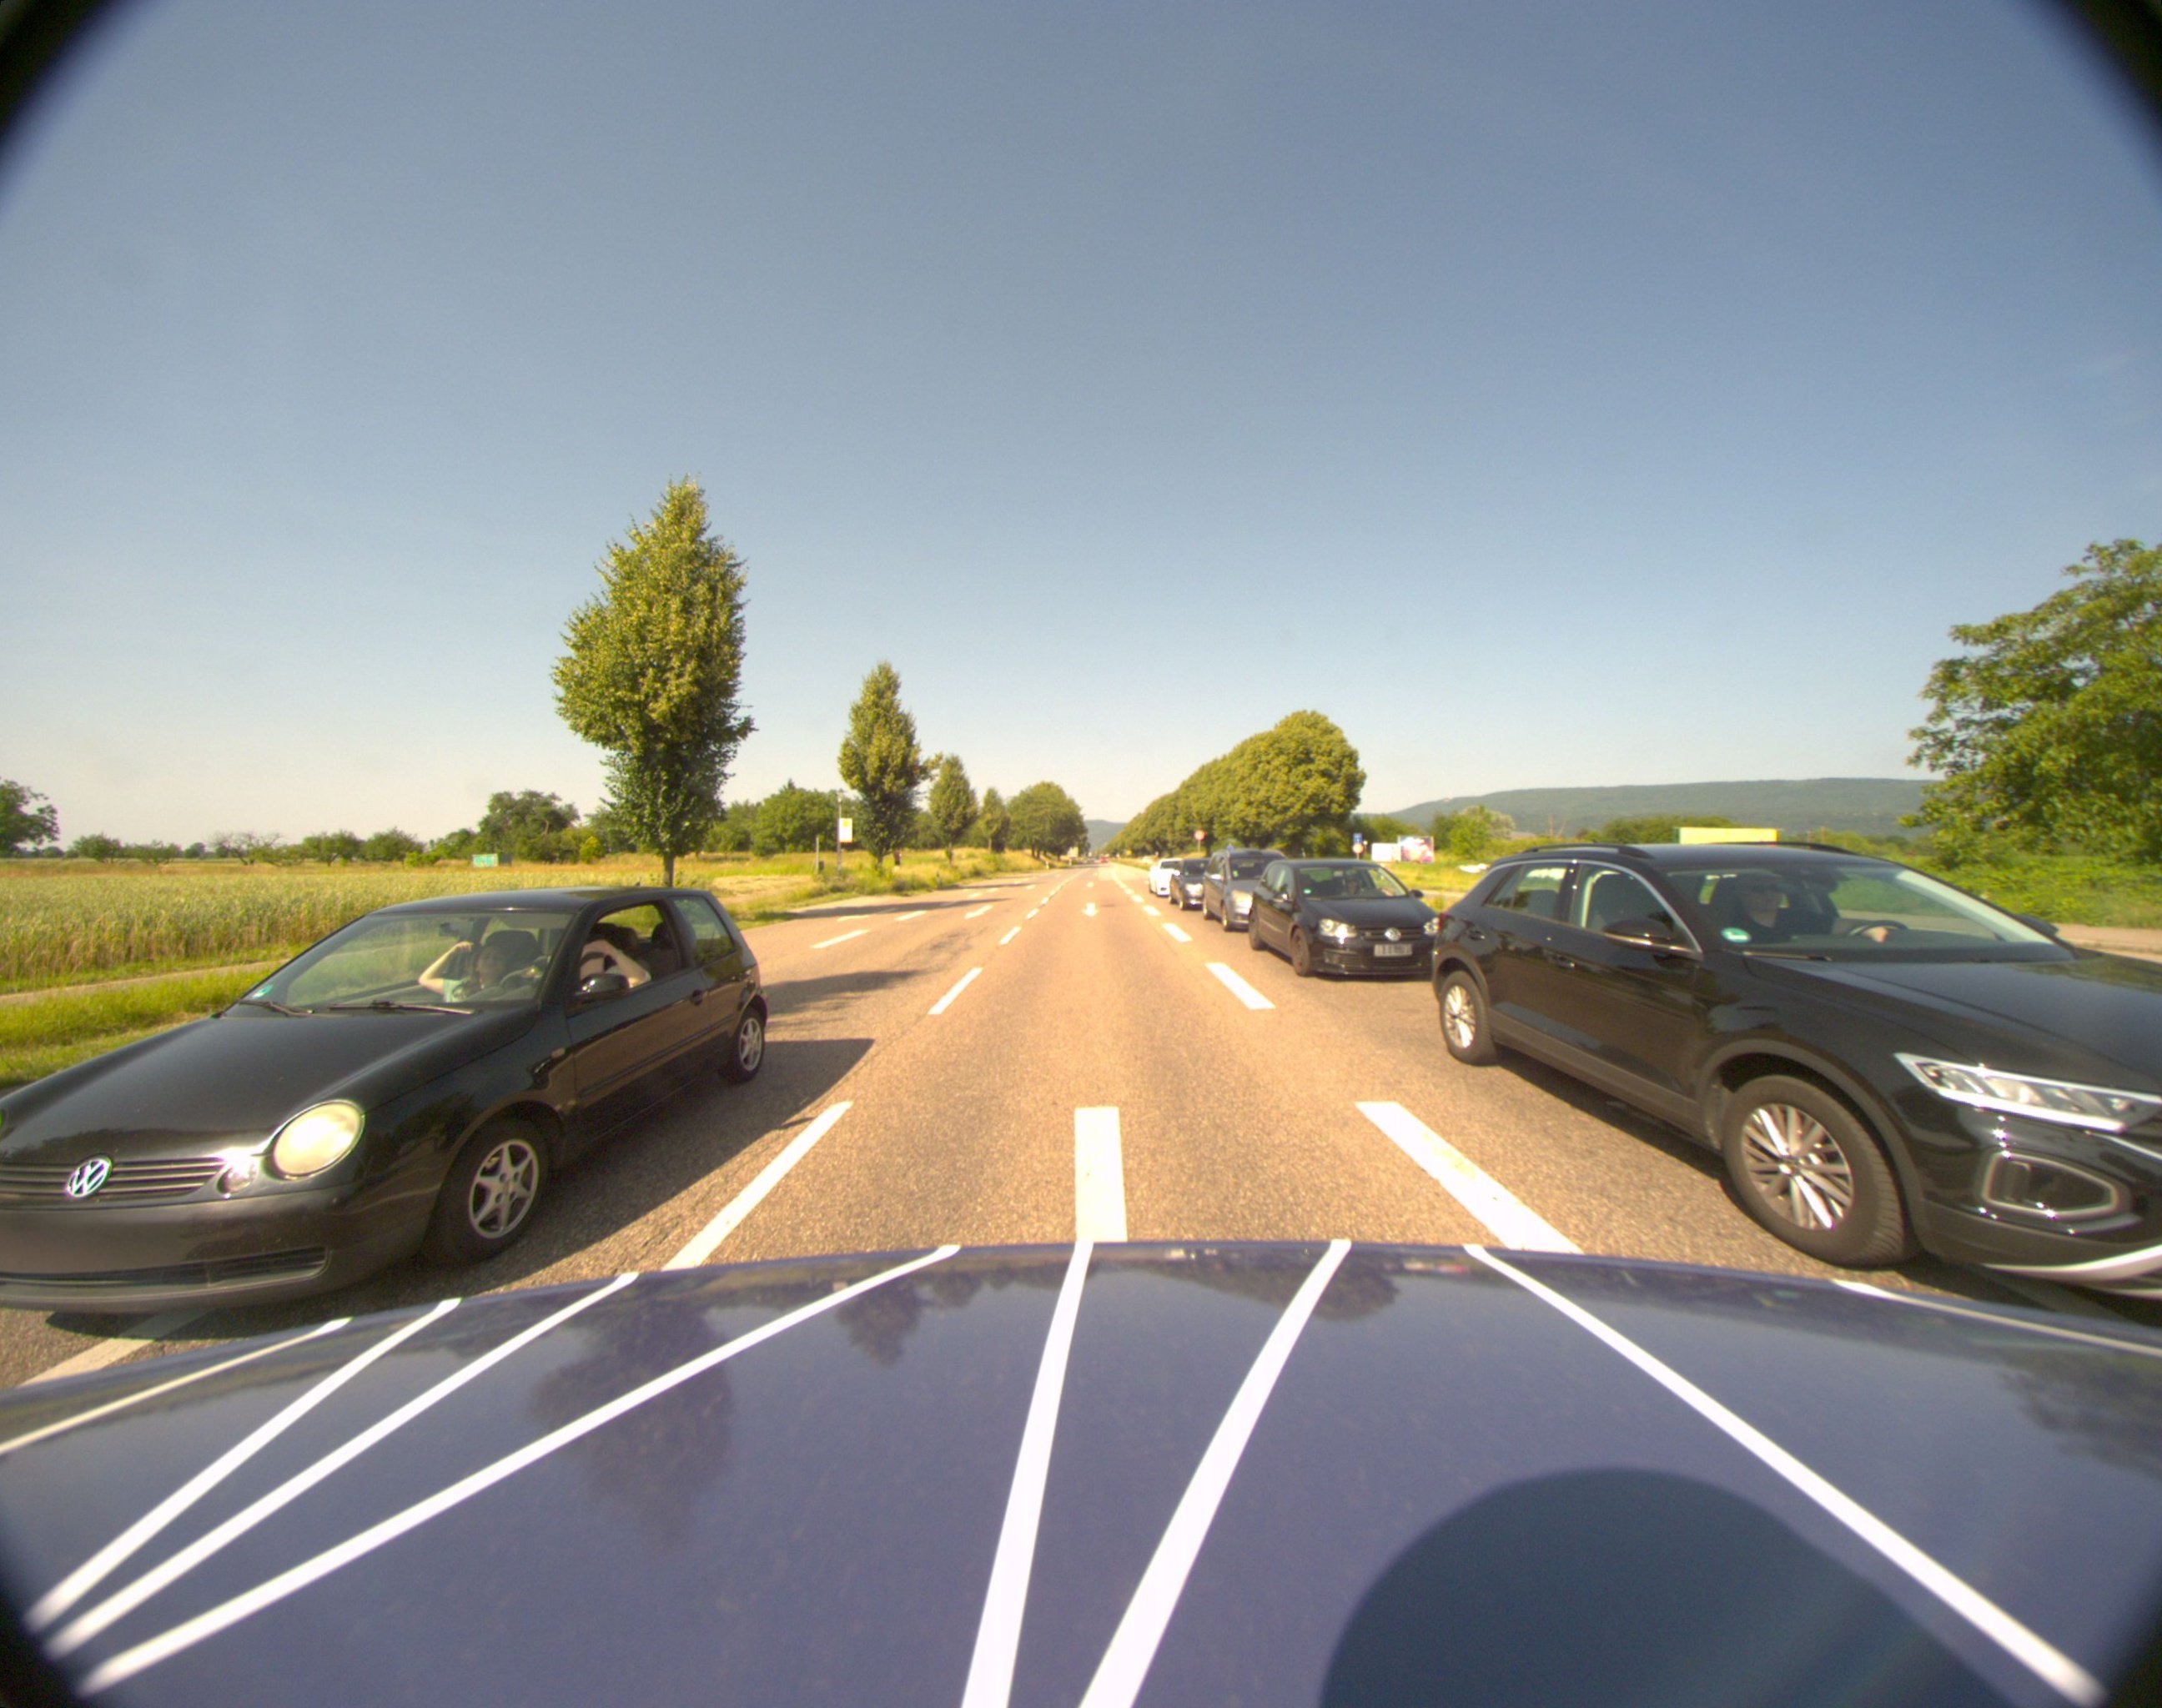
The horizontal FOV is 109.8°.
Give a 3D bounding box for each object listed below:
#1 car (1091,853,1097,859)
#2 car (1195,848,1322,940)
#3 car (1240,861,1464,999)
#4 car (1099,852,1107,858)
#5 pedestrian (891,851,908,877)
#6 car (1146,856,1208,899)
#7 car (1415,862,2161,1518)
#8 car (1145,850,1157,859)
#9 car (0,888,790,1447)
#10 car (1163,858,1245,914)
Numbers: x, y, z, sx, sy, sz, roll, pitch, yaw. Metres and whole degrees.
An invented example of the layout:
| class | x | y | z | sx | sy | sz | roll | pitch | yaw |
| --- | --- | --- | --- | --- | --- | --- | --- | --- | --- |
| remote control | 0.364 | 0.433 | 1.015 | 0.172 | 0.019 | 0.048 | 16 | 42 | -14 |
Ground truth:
| class | x | y | z | sx | sy | sz | roll | pitch | yaw |
| --- | --- | --- | --- | --- | --- | --- | --- | --- | --- |
| car | 3.737 | 0.544 | 216.116 | 1.680 | 1.499 | 3.725 | 0 | 0 | 1 |
| car | 3.617 | 0.743 | 16.253 | 1.745 | 1.662 | 4.357 | -1 | 0 | 1 |
| car | 3.433 | 0.866 | 10.461 | 1.670 | 1.466 | 4.098 | -1 | 0 | 1 |
| car | 5.229 | 0.233 | 179.388 | 1.680 | 1.499 | 3.725 | 0 | 1 | 1 |
| pedestrian | -12.501 | 0.678 | 52.342 | 0.904 | 1.828 | 1.194 | 0 | 0 | -1 |
| car | 3.606 | 0.839 | 29.189 | 1.808 | 1.417 | 4.641 | -1 | 0 | 1 |
| car | 3.456 | 0.847 | 3.893 | 1.733 | 1.538 | 4.098 | -1 | 0 | 1 |
| car | 11.835 | 0.116 | 129.503 | 1.887 | 1.506 | 4.149 | -1 | 0 | 3 |
| car | -3.097 | 1.002 | 4.005 | 1.629 | 1.425 | 3.622 | -2 | 0 | 1 |
| car | 3.489 | 0.862 | 22.205 | 1.719 | 1.402 | 4.355 | -2 | 0 | 1 |
